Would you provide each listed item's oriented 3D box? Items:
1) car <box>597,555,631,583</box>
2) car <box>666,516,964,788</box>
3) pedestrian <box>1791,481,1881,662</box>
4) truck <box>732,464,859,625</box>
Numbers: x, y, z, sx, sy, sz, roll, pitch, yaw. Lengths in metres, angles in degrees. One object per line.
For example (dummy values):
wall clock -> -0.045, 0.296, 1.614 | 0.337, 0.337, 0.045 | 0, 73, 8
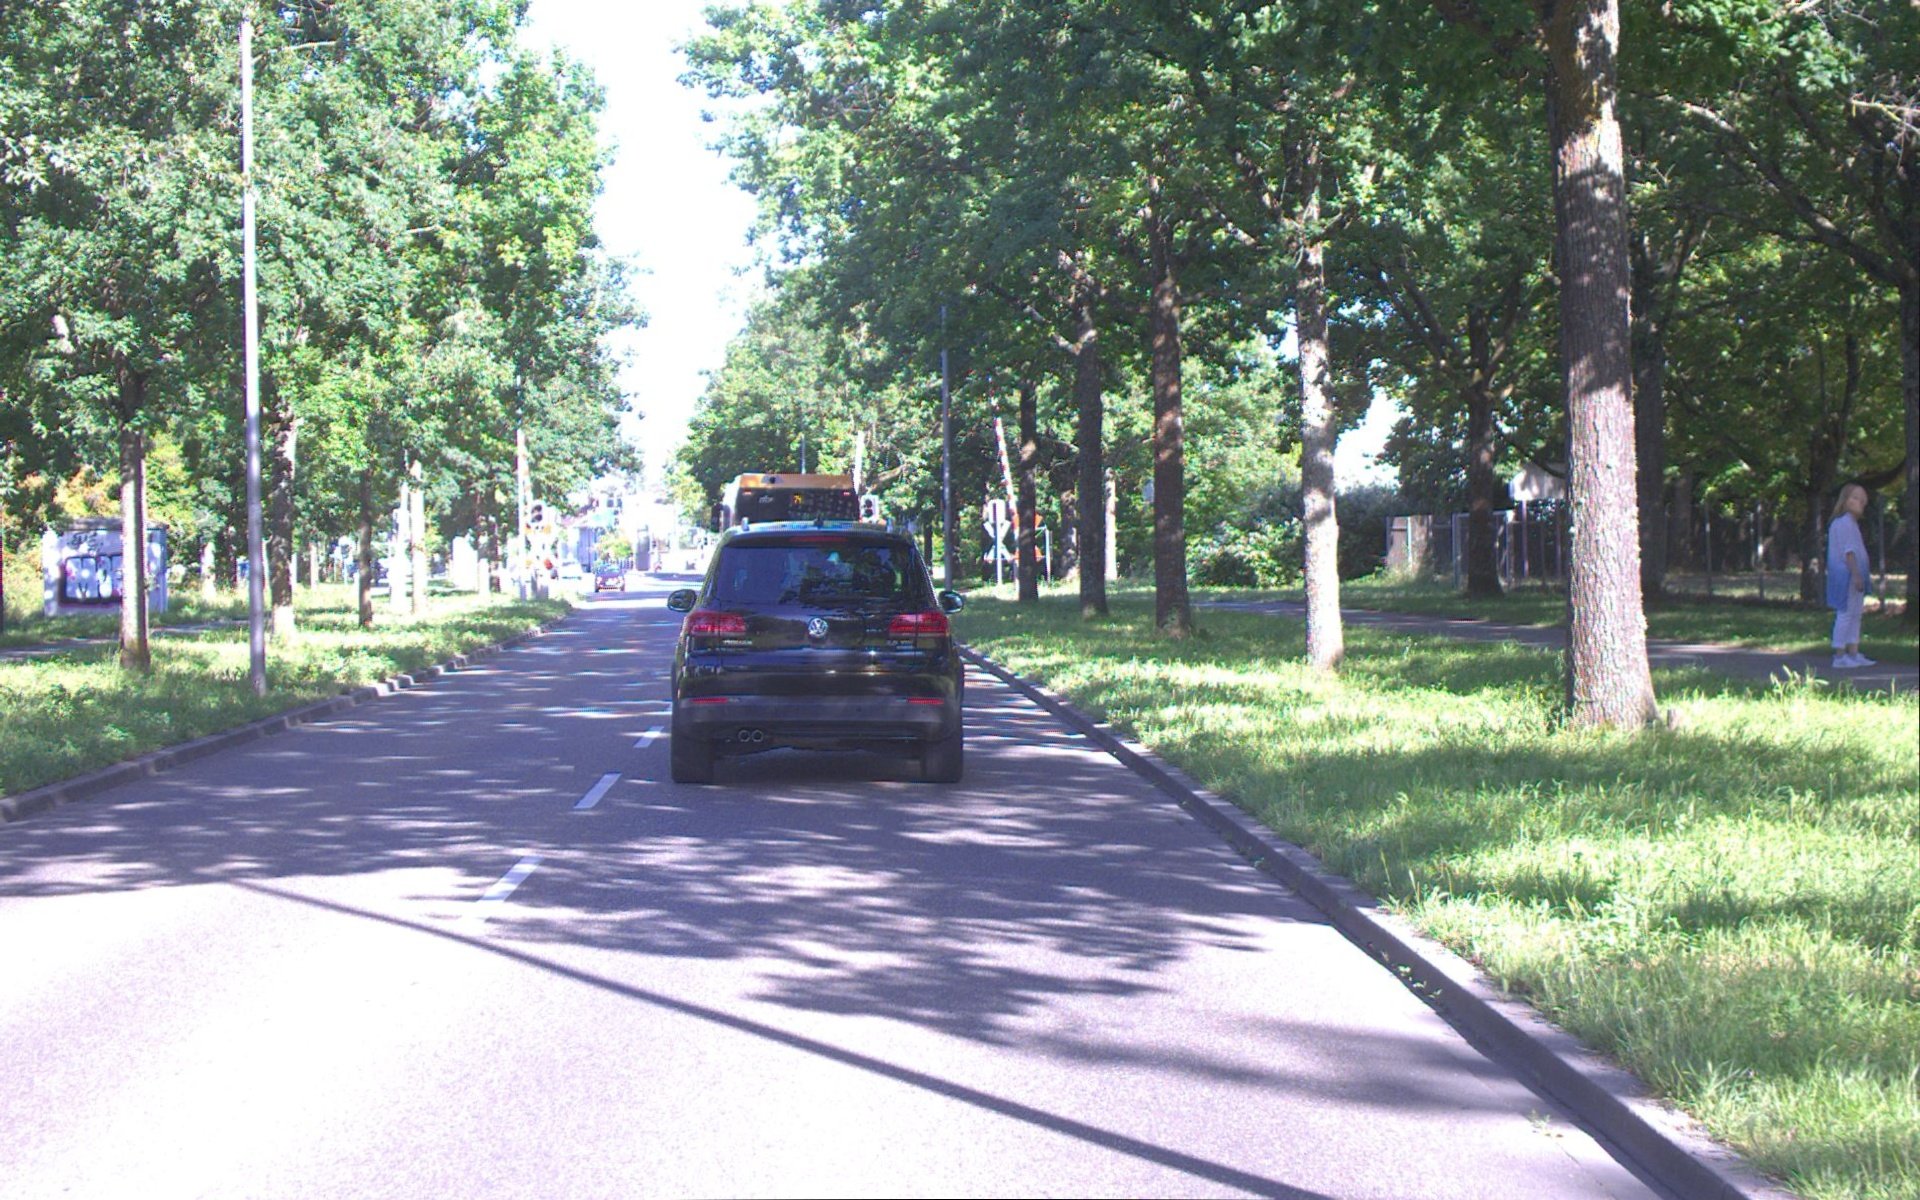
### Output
car -> -18.761, -1.691, 186.452 | 1.565, 1.499, 4.000 | 1, 1, -2
car -> -1.006, 0.291, 22.811 | 1.782, 1.628, 4.001 | 1, 1, -4
pedestrian -> 8.140, -0.270, 31.929 | 0.717, 1.625, 0.609 | -3, 1, 16
truck -> -3.607, -1.187, 73.904 | 2.512, 3.232, 8.153 | -1, 1, -4
